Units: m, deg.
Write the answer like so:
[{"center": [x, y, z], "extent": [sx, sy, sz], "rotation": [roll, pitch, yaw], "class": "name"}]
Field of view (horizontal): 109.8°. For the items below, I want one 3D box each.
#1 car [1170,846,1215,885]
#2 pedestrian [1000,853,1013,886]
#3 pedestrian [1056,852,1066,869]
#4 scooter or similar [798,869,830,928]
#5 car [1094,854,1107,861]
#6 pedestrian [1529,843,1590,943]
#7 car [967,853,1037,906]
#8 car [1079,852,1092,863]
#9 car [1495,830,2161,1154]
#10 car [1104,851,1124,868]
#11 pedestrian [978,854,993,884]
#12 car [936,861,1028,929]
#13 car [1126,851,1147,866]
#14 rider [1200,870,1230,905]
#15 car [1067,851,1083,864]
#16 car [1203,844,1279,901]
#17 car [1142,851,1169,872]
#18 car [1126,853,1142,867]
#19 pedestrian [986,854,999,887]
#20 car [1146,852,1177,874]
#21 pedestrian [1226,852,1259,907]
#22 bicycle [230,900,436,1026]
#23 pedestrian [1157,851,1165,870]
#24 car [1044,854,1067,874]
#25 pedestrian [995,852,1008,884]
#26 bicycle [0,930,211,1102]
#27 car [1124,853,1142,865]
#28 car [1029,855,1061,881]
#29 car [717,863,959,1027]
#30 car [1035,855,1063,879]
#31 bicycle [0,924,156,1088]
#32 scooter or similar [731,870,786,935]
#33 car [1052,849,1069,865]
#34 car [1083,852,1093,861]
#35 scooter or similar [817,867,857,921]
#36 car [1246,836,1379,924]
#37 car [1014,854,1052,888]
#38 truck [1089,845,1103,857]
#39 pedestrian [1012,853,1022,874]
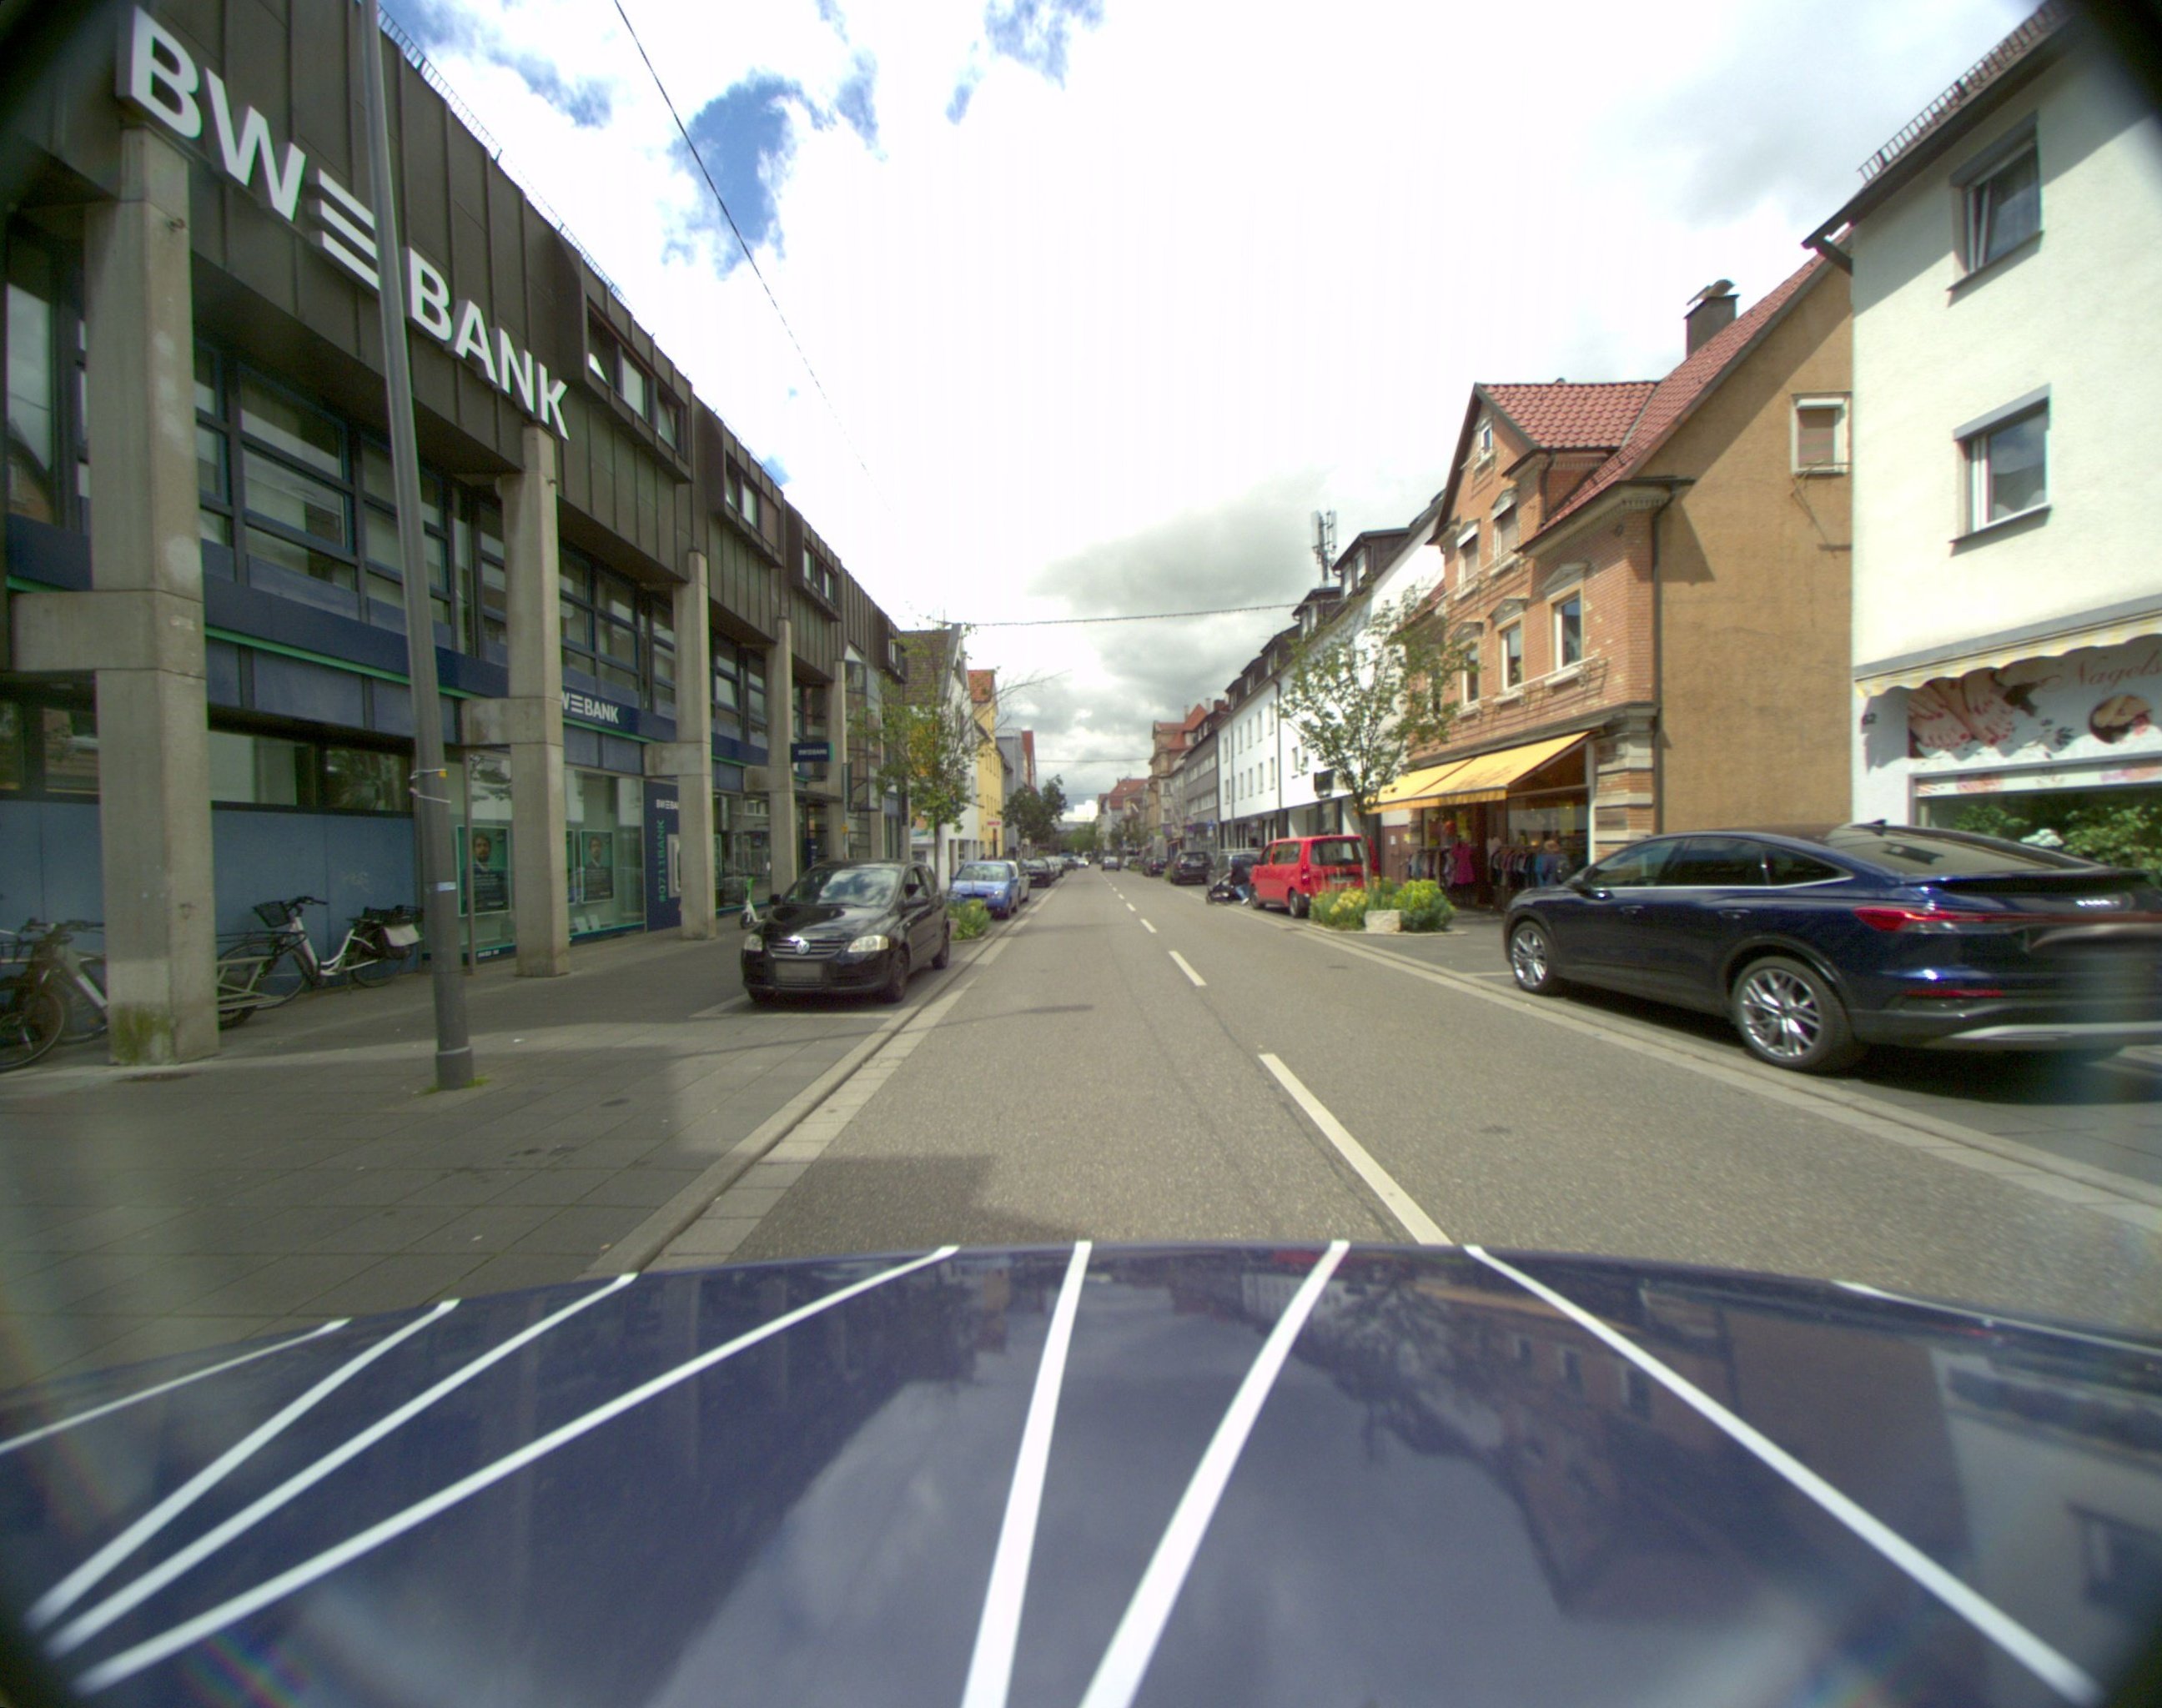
[{"center": [5.689, 0.536, 39.264], "extent": [1.820, 1.745, 4.669], "rotation": [-2, 1, 3], "class": "car"}, {"center": [-4.179, 0.892, 42.878], "extent": [0.589, 1.830, 0.576], "rotation": [-2, 1, 1], "class": "pedestrian"}, {"center": [-2.192, 0.738, 82.857], "extent": [0.978, 1.853, 0.864], "rotation": [1, 1, -1], "class": "pedestrian"}, {"center": [-5.996, 0.977, 17.107], "extent": [0.406, 1.238, 1.323], "rotation": [-3, 1, -10], "class": "scooter or similar"}, {"center": [3.730, 0.642, 145.387], "extent": [1.723, 1.296, 4.463], "rotation": [-1, -1, -9], "class": "car"}, {"center": [8.059, 0.642, 12.816], "extent": [0.590, 1.623, 0.661], "rotation": [-2, 1, 1], "class": "pedestrian"}, {"center": [-2.607, 0.804, 26.155], "extent": [1.725, 1.567, 4.429], "rotation": [4, 0, 2], "class": "car"}, {"center": [0.655, 0.503, 110.707], "extent": [1.804, 1.594, 4.203], "rotation": [1, 0, -1], "class": "car"}, {"center": [5.342, 0.675, 5.974], "extent": [1.804, 1.589, 4.389], "rotation": [-2, 0, 1], "class": "car"}, {"center": [3.483, 0.580, 81.241], "extent": [1.910, 1.554, 4.645], "rotation": [-2, 1, 1], "class": "car"}, {"center": [-5.619, 0.883, 44.761], "extent": [0.743, 1.727, 0.757], "rotation": [-2, 1, 1], "class": "pedestrian"}, {"center": [-2.540, 1.011, 20.420], "extent": [1.725, 1.485, 4.109], "rotation": [-2, 1, 2], "class": "car"}, {"center": [5.924, 0.479, 81.210], "extent": [1.602, 1.437, 3.555], "rotation": [-2, 0, -7], "class": "car"}, {"center": [4.132, 1.024, 23.457], "extent": [0.805, 1.007, 0.707], "rotation": [-2, 1, 3], "class": "rider"}, {"center": [-0.672, 0.418, 89.993], "extent": [1.724, 1.517, 3.598], "rotation": [-1, 0, 1], "class": "car"}, {"center": [5.508, 0.561, 26.694], "extent": [1.820, 1.745, 4.463], "rotation": [-2, 1, 2], "class": "car"}, {"center": [6.145, 0.608, 62.726], "extent": [1.794, 1.504, 4.712], "rotation": [-2, 1, 1], "class": "car"}, {"center": [5.979, 0.693, 85.931], "extent": [1.590, 1.406, 3.668], "rotation": [-2, 1, 2], "class": "car"}, {"center": [-4.982, 0.947, 42.963], "extent": [0.589, 1.830, 0.576], "rotation": [-2, 1, 1], "class": "pedestrian"}, {"center": [5.938, 0.656, 56.542], "extent": [1.795, 1.495, 4.177], "rotation": [-2, 1, 0], "class": "car"}, {"center": [4.853, 0.750, 22.839], "extent": [0.807, 1.565, 0.779], "rotation": [-2, 1, 3], "class": "pedestrian"}, {"center": [-8.157, 1.137, 8.409], "extent": [0.426, 1.113, 1.741], "rotation": [-2, 1, 3], "class": "bicycle"}, {"center": [7.762, 0.616, 73.901], "extent": [0.549, 1.747, 0.728], "rotation": [-3, 1, -3], "class": "pedestrian"}, {"center": [-2.043, 0.843, 61.091], "extent": [1.694, 1.463, 4.523], "rotation": [-3, -1, -2], "class": "car"}, {"center": [-4.538, 0.789, 43.595], "extent": [0.589, 1.830, 0.576], "rotation": [-2, 1, 1], "class": "pedestrian"}, {"center": [-7.675, 1.181, 5.739], "extent": [0.426, 1.075, 1.502], "rotation": [0, 0, 3], "class": "bicycle"}, {"center": [6.581, 0.650, 96.714], "extent": [1.850, 1.390, 4.035], "rotation": [-3, 1, -2], "class": "car"}, {"center": [-2.304, 0.867, 49.240], "extent": [1.725, 1.467, 4.353], "rotation": [-2, 1, 1], "class": "car"}, {"center": [-2.649, 0.902, 9.230], "extent": [1.613, 1.523, 3.795], "rotation": [0, 0, 2], "class": "car"}, {"center": [-2.266, 0.902, 54.956], "extent": [1.634, 1.467, 4.957], "rotation": [-2, 1, 2], "class": "car"}, {"center": [-8.233, 1.181, 5.788], "extent": [0.426, 1.113, 1.502], "rotation": [-2, 1, 3], "class": "bicycle"}, {"center": [-6.801, 0.985, 16.082], "extent": [0.423, 1.238, 1.561], "rotation": [-2, 1, 0], "class": "scooter or similar"}, {"center": [-2.154, 0.334, 80.206], "extent": [1.804, 1.594, 4.203], "rotation": [1, 0, -1], "class": "car"}, {"center": [1.371, 0.477, 146.692], "extent": [1.536, 1.521, 3.757], "rotation": [-3, 1, -3], "class": "car"}, {"center": [-6.110, 0.976, 19.105], "extent": [0.423, 1.238, 1.561], "rotation": [-2, 1, 0], "class": "scooter or similar"}, {"center": [5.606, 0.533, 19.107], "extent": [1.821, 1.878, 4.840], "rotation": [-2, 1, 0], "class": "car"}, {"center": [-2.461, 0.864, 39.981], "extent": [1.726, 1.568, 4.108], "rotation": [-2, 1, -1], "class": "car"}, {"center": [2.984, -0.579, 156.782], "extent": [2.112, 2.292, 6.472], "rotation": [-3, 1, -5], "class": "truck"}, {"center": [-4.942, 0.729, 58.704], "extent": [0.751, 1.544, 0.726], "rotation": [-1, 1, 0], "class": "pedestrian"}]
